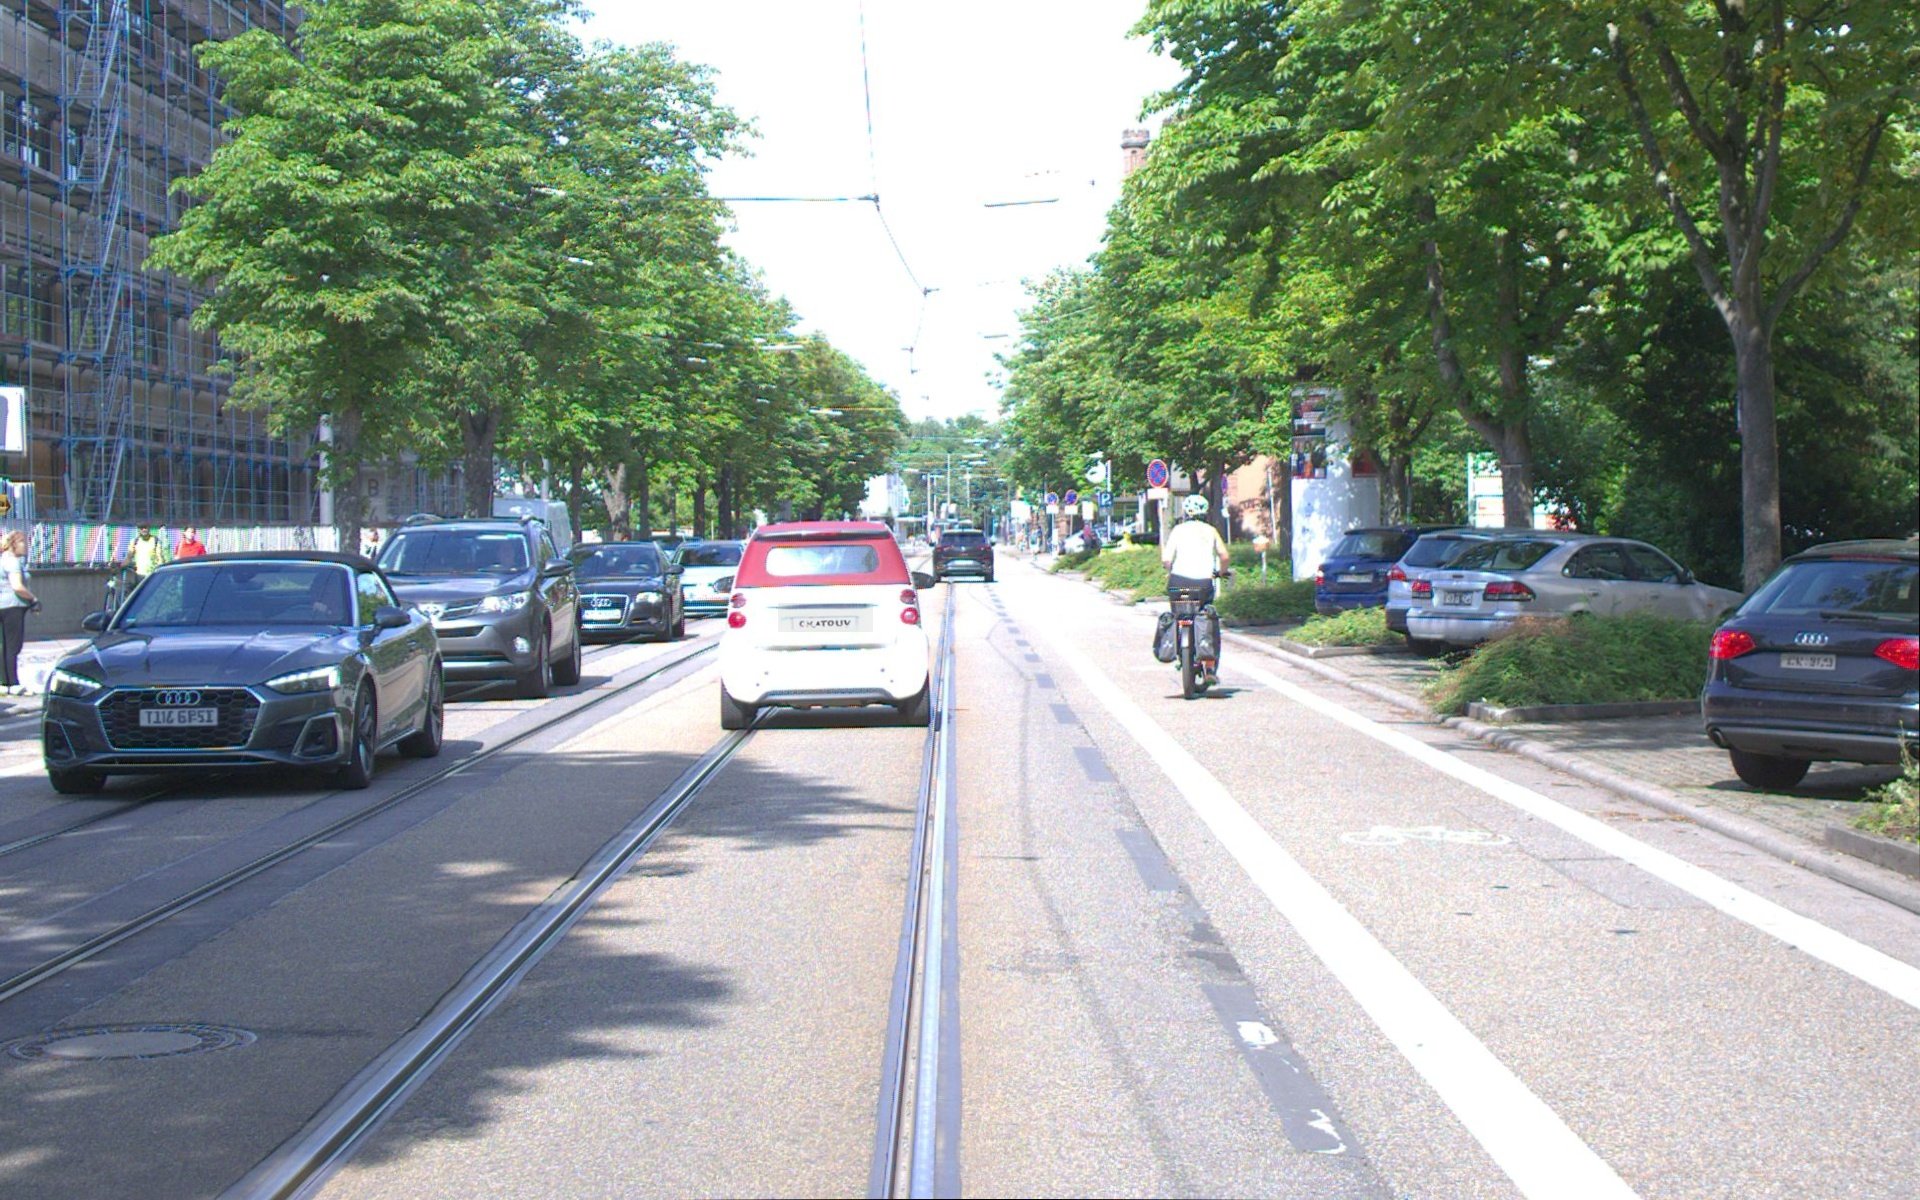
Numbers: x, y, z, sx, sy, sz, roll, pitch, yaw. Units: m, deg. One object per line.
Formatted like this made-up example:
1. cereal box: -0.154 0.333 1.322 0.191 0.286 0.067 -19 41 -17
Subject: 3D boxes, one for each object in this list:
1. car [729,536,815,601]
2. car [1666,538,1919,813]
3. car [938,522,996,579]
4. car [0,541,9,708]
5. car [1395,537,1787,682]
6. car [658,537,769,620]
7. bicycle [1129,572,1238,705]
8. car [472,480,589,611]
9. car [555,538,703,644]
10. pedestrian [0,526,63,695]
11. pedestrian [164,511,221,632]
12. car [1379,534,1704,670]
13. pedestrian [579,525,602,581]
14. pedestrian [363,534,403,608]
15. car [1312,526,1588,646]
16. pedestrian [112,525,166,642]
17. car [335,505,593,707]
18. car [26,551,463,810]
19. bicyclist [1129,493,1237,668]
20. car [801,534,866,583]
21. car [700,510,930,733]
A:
1. car: -4.215 -0.715 77.461 1.686 1.401 4.227 -1 1 0
2. car: 6.277 0.413 20.124 2.030 1.437 4.524 2 1 45
3. car: 0.188 -1.464 100.940 1.665 1.619 3.621 -1 1 0
4. car: -9.426 0.237 28.994 1.749 1.511 4.593 1 1 -3
5. car: 6.765 0.058 36.675 4.230 1.415 1.723 -1 2 -38
6. car: -4.536 -0.419 63.791 1.773 1.411 3.852 -3 1 -1
7. bicycle: 2.012 0.320 30.729 0.875 1.122 2.135 1 1 6
8. car: -9.160 -1.161 73.697 1.769 2.630 5.322 -2 1 0
9. car: -4.596 -0.150 48.217 1.723 1.371 4.000 -2 1 -1
10. pedestrian: -9.257 0.093 33.627 0.725 1.631 0.692 1 1 -34
11. pedestrian: -11.878 -0.445 53.190 0.707 1.825 0.662 3 2 -5
12. car: 6.755 0.001 39.786 3.794 1.469 1.652 0 2 -41
13. pedestrian: -13.193 -1.690 122.846 0.802 2.007 0.485 0 1 -9
14. pedestrian: -12.800 -0.647 76.246 0.764 1.614 0.594 1 1 0
15. car: 6.666 -0.210 46.499 1.615 1.481 3.990 0 2 45
16. pedestrian: -12.679 -0.260 53.107 0.707 1.787 0.662 1 1 -5
17. car: -4.555 0.021 32.134 1.825 1.721 4.392 1 1 -1
18. car: -4.308 0.418 21.380 1.799 1.383 4.426 -1 1 0
19. bicyclist: 2.007 -0.175 30.776 0.890 1.523 1.085 1 1 6
20. car: -3.948 -1.300 108.067 1.800 1.503 4.536 0 1 1
21. car: -1.067 0.111 26.732 1.665 1.619 3.621 0 1 0
